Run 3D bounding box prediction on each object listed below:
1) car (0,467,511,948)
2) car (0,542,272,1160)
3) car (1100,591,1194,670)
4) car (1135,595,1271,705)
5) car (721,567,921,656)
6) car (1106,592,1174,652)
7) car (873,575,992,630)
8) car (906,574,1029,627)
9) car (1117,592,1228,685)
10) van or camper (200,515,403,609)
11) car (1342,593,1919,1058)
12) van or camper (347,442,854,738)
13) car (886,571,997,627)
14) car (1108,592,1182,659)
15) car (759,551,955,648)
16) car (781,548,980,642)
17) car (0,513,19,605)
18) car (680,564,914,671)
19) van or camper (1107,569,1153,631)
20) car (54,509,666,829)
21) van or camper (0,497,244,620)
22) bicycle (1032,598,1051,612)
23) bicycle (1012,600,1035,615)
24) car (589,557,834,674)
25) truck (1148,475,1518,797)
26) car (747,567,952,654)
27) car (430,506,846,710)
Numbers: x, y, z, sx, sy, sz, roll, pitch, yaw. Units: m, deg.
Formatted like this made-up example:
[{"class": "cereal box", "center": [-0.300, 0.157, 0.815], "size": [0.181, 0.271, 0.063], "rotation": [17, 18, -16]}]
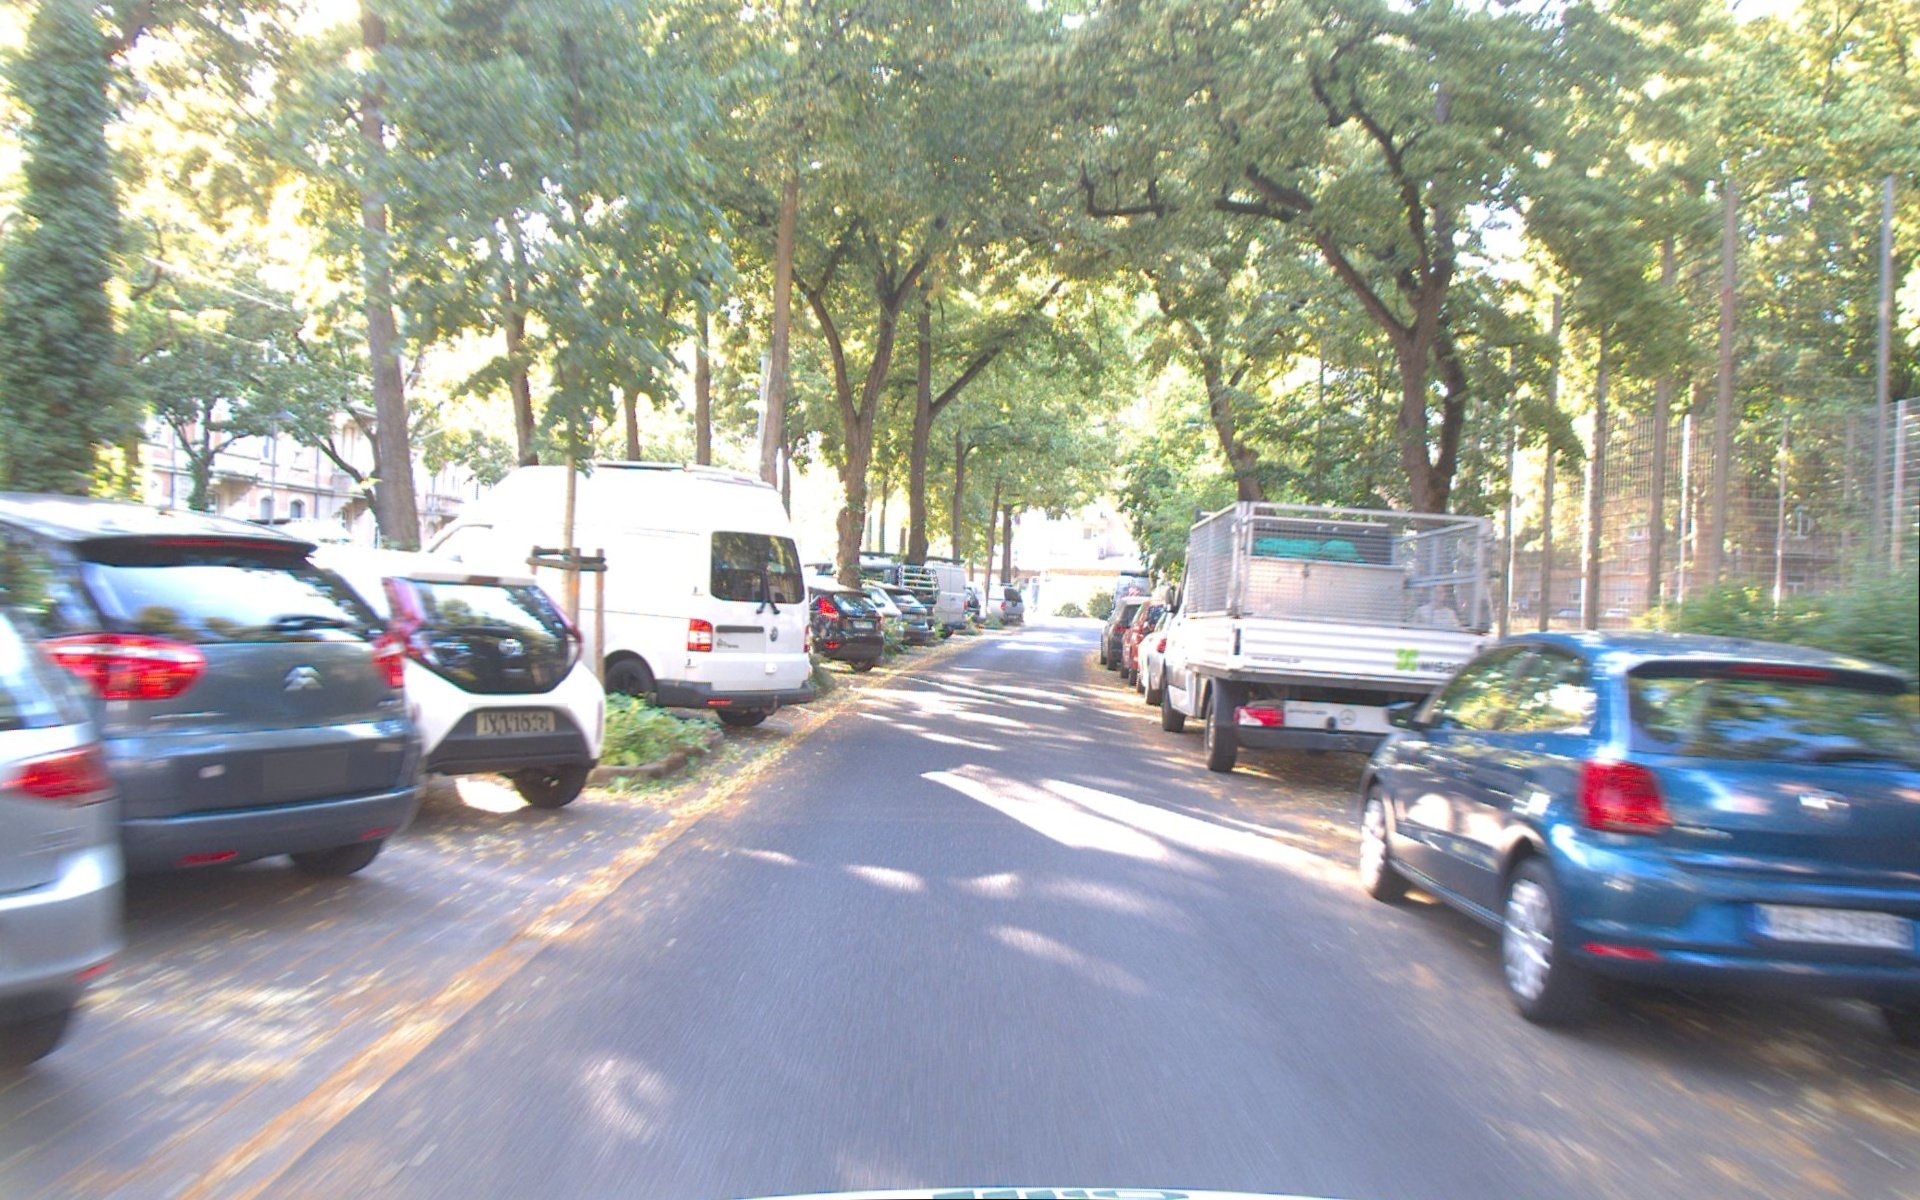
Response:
[{"class": "car", "center": [-4.300, 0.275, 7.663], "size": [3.950, 1.691, 1.855], "rotation": [5, 0, 26]}, {"class": "car", "center": [-4.203, 0.445, 4.775], "size": [4.152, 1.465, 1.853], "rotation": [5, 0, 29]}, {"class": "car", "center": [3.833, 0.591, 34.414], "size": [1.637, 1.479, 3.951], "rotation": [2, 0, 3]}, {"class": "car", "center": [3.553, 0.681, 24.776], "size": [1.637, 1.422, 4.301], "rotation": [2, 0, 4]}, {"class": "car", "center": [-3.012, 0.241, 35.578], "size": [4.013, 1.513, 1.777], "rotation": [5, 0, 35]}, {"class": "car", "center": [4.868, 0.571, 45.166], "size": [1.645, 1.479, 4.078], "rotation": [2, 0, 4]}, {"class": "car", "center": [-1.037, 0.086, 62.212], "size": [4.080, 1.672, 1.907], "rotation": [5, 0, 37]}, {"class": "car", "center": [0.311, 0.024, 71.361], "size": [4.899, 1.812, 1.982], "rotation": [5, 0, 33]}, {"class": "car", "center": [3.764, 0.645, 29.790], "size": [1.637, 1.479, 3.951], "rotation": [2, 0, 3]}, {"class": "van or camper", "center": [-17.840, -1.024, 44.739], "size": [5.433, 2.412, 2.302], "rotation": [1, 0, 32]}, {"class": "car", "center": [2.971, 0.750, 7.387], "size": [1.638, 1.484, 3.894], "rotation": [2, 0, 1]}, {"class": "van or camper", "center": [-3.708, -0.163, 16.803], "size": [4.783, 2.513, 2.040], "rotation": [5, 0, 31]}, {"class": "car", "center": [-0.753, -0.043, 65.425], "size": [4.086, 1.812, 1.873], "rotation": [5, 0, 41]}, {"class": "car", "center": [4.425, 0.594, 39.947], "size": [1.557, 1.479, 3.556], "rotation": [2, 0, 4]}, {"class": "car", "center": [-2.590, -0.037, 41.004], "size": [4.624, 1.976, 1.926], "rotation": [5, 0, 37]}, {"class": "car", "center": [-2.318, -0.155, 47.352], "size": [5.403, 2.173, 2.074], "rotation": [5, 0, 34]}, {"class": "car", "center": [-18.853, -0.767, 29.670], "size": [4.239, 1.610, 1.899], "rotation": [1, 0, 37]}, {"class": "car", "center": [-2.864, 0.289, 28.718], "size": [3.753, 1.463, 1.817], "rotation": [5, 0, 38]}, {"class": "van or camper", "center": [8.334, 0.002, 81.218], "size": [2.040, 2.810, 5.849], "rotation": [2, 0, 5]}, {"class": "car", "center": [-3.814, 0.352, 10.418], "size": [3.478, 1.519, 1.820], "rotation": [5, 0, 33]}, {"class": "van or camper", "center": [-18.243, -0.897, 35.843], "size": [5.551, 2.511, 1.997], "rotation": [1, 0, 28]}, {"class": "bicycle", "center": [5.839, 0.343, 118.904], "size": [0.536, 0.920, 1.719], "rotation": [2, 0, -29]}, {"class": "bicycle", "center": [4.625, 0.537, 120.835], "size": [0.631, 1.040, 2.067], "rotation": [2, 0, -30]}, {"class": "car", "center": [-4.004, 0.238, 26.544], "size": [3.478, 1.519, 1.820], "rotation": [5, 0, 33]}, {"class": "truck", "center": [3.309, 0.273, 16.407], "size": [2.248, 2.428, 6.936], "rotation": [2, 0, 2]}, {"class": "car", "center": [-2.595, 0.227, 38.234], "size": [4.484, 1.567, 1.926], "rotation": [5, 0, 37]}, {"class": "car", "center": [-3.966, 0.057, 20.099], "size": [4.786, 2.012, 2.039], "rotation": [5, 0, 33]}]
